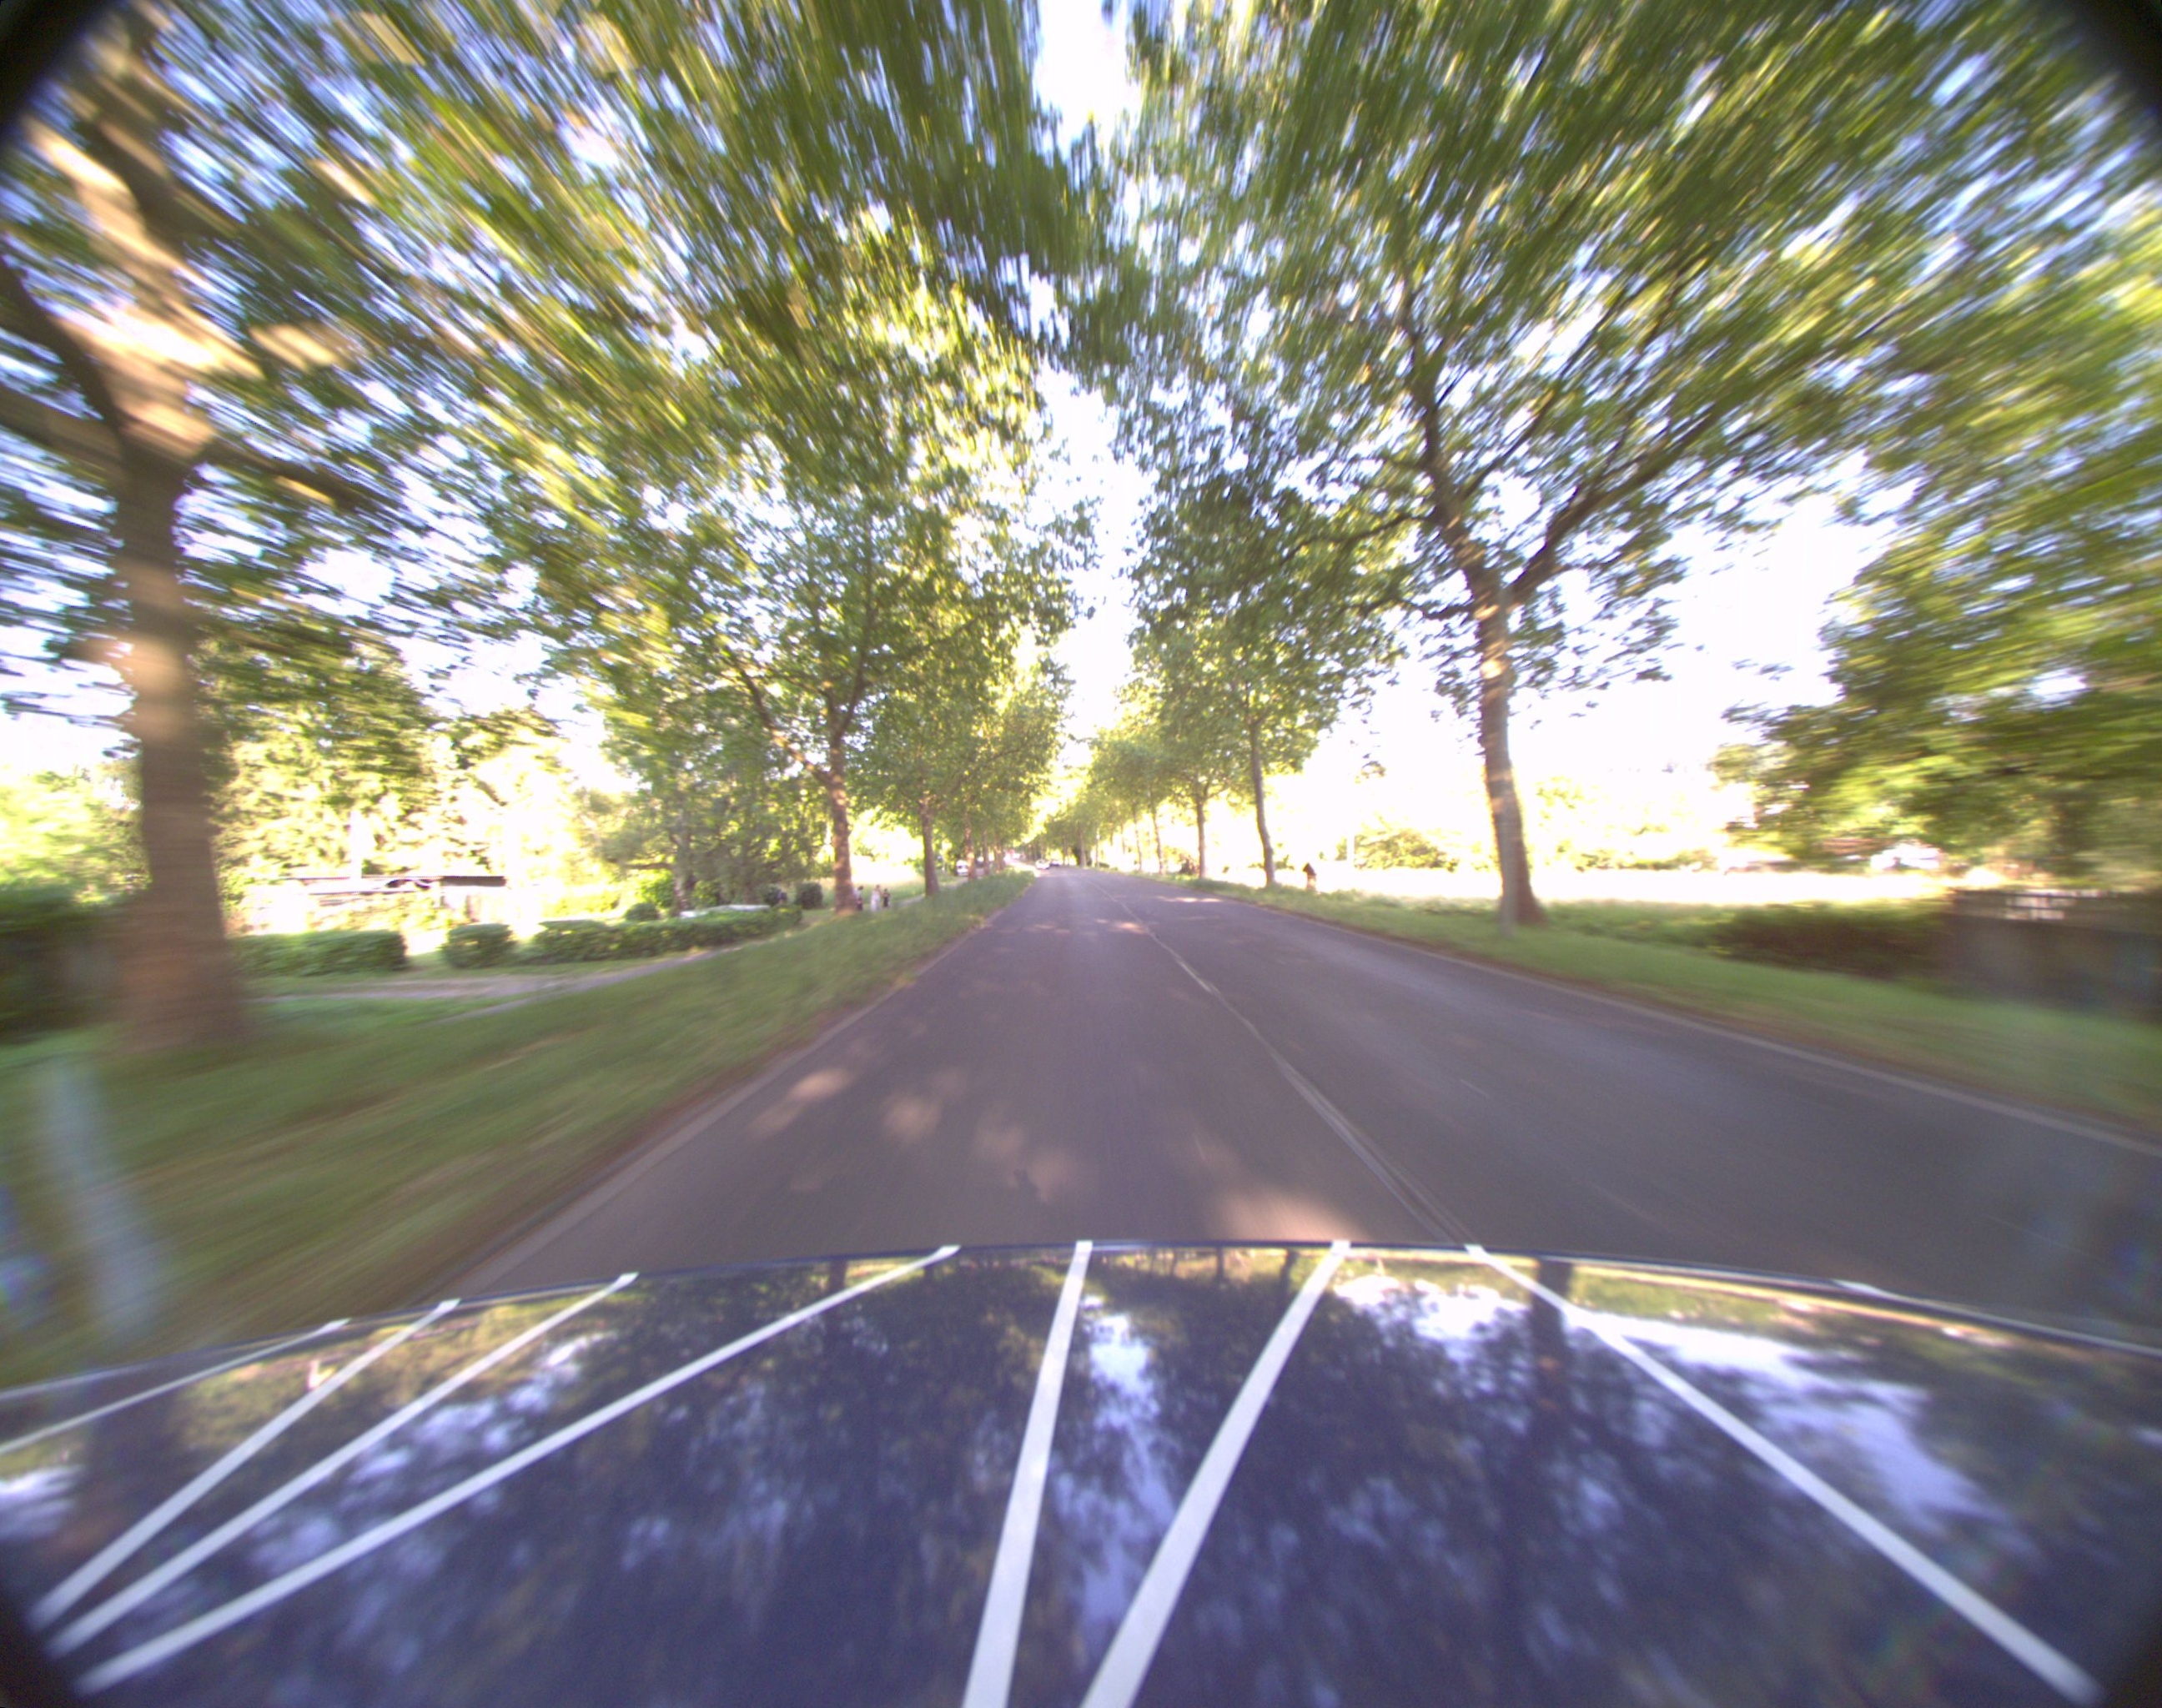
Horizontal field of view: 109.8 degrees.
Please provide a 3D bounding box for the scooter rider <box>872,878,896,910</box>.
[{"bbox_3d":[-10.062,2.015,38.790,0.782,1.567,0.846,-1,1,41],"label":"scooter rider"}]

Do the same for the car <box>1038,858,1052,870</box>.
[{"bbox_3d":[-5.309,1.428,112.186,1.999,1.655,3.998,-2,0,-4],"label":"car"}]

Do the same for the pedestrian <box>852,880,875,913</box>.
[{"bbox_3d":[-10.760,2.091,37.643,0.846,1.567,0.783,-3,1,-32],"label":"pedestrian"}]

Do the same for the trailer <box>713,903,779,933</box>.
[{"bbox_3d":[-13.746,2.635,31.229,2.122,1.046,1.201,-2,1,3],"label":"trailer"}]

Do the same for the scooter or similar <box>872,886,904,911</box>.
[{"bbox_3d":[-9.865,2.272,38.892,0.340,1.128,1.602,-1,1,44],"label":"scooter or similar"}]

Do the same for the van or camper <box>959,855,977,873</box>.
[{"bbox_3d":[-18.136,1.547,122.404,2.387,2.783,5.682,-2,1,-5],"label":"van or camper"}]
